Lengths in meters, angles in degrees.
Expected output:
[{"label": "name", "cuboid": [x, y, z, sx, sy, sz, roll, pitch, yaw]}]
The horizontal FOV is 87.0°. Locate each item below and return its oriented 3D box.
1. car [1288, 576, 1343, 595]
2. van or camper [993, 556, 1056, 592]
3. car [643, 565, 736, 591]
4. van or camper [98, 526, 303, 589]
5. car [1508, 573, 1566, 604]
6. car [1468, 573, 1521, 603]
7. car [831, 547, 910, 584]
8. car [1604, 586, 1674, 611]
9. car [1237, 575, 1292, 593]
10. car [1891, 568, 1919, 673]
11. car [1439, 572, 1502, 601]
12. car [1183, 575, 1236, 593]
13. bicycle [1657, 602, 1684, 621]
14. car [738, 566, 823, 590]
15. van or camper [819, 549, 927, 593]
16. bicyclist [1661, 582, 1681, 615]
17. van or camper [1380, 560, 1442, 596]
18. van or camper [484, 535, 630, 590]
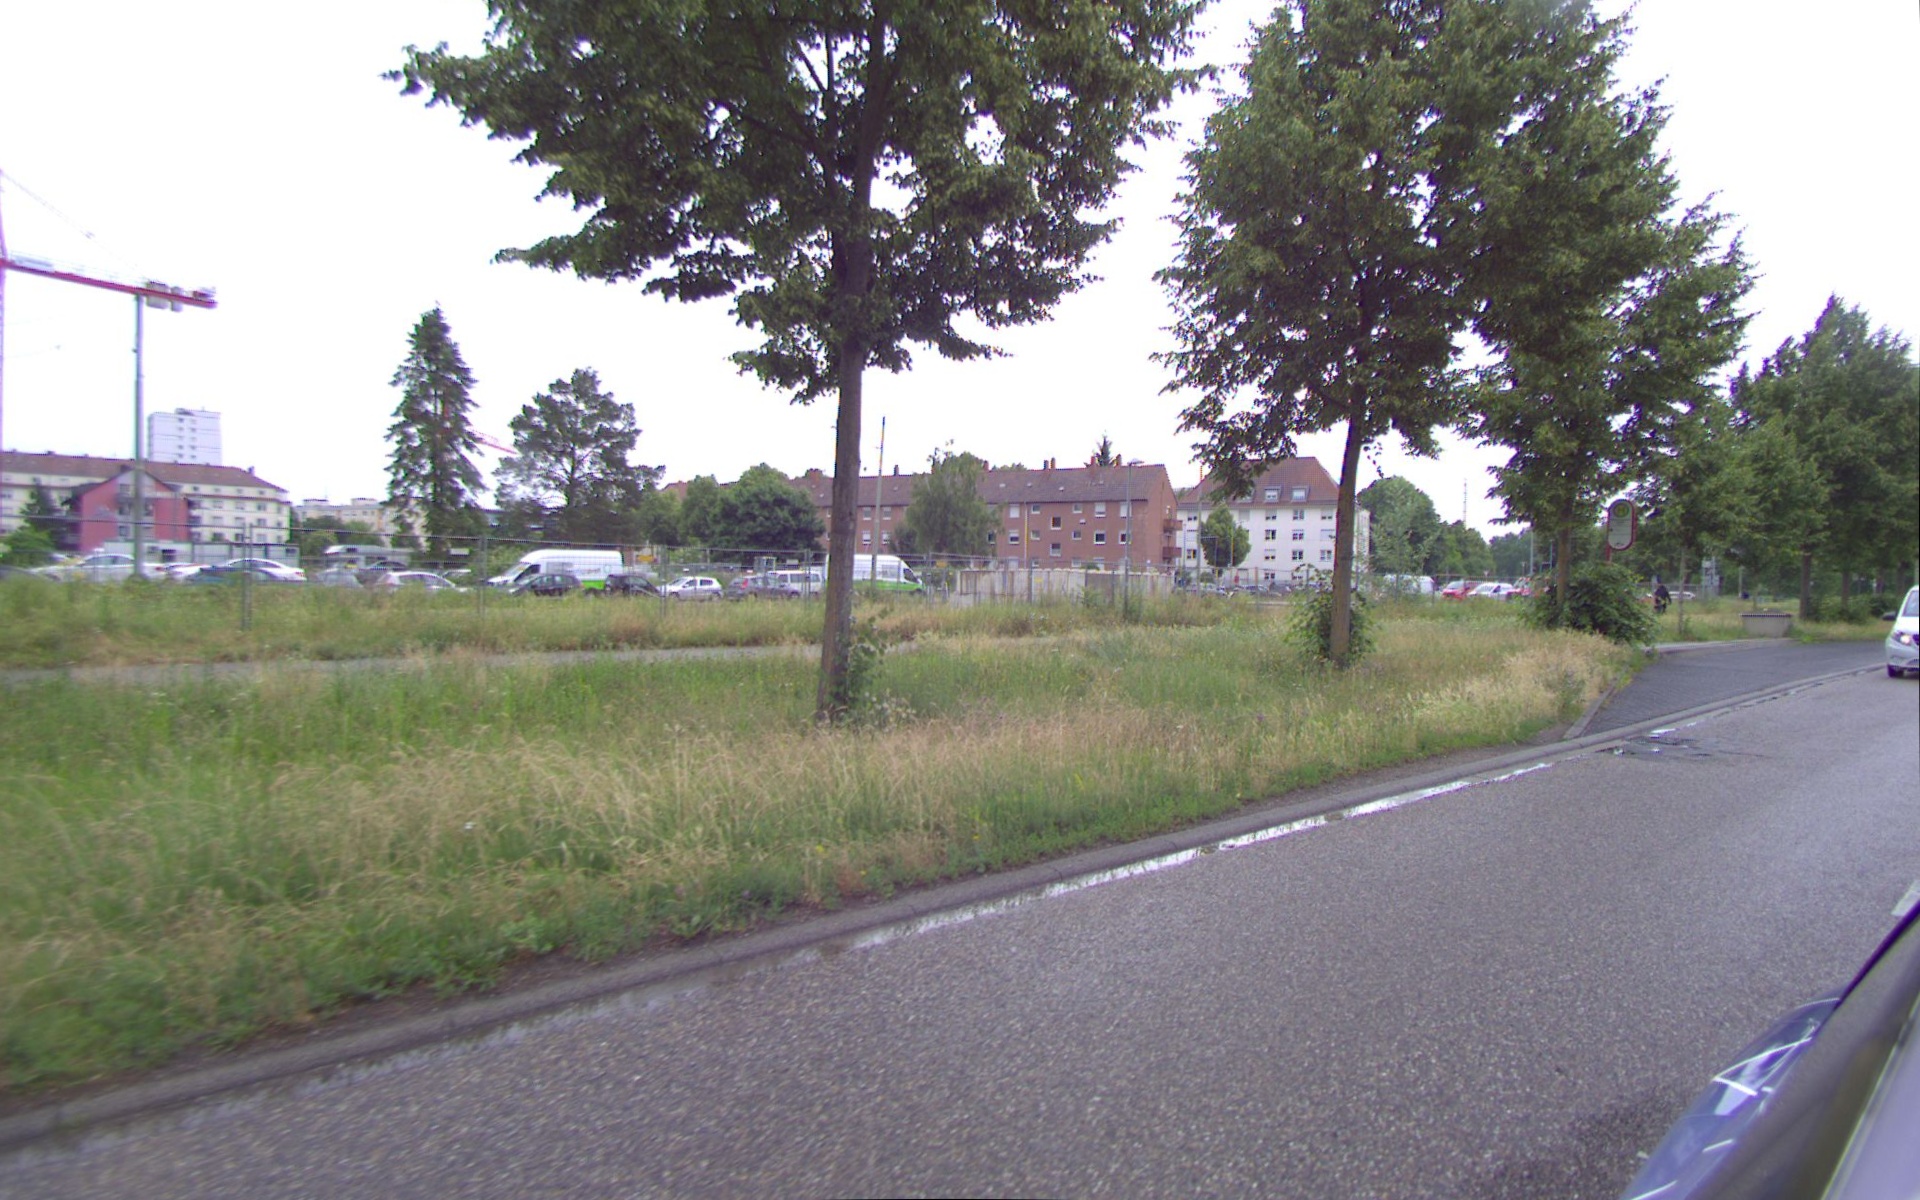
[{"label": "car", "cuboid": [30.281, -1.257, 86.205, 3.916, 1.572, 2.004, 0, 0, -14]}, {"label": "van or camper", "cuboid": [4.884, -1.939, 76.387, 1.912, 2.568, 5.181, 1, 1, 42]}, {"label": "car", "cuboid": [-15.003, -1.207, 56.313, 4.681, 1.369, 1.843, 0, 1, -44]}, {"label": "van or camper", "cuboid": [-31.062, -1.643, 41.580, 6.536, 2.336, 2.505, 0, 0, -43]}, {"label": "car", "cuboid": [43.940, -0.870, 77.033, 3.918, 2.339, 2.003, 0, 0, -28]}, {"label": "car", "cuboid": [42.386, -0.926, 80.239, 3.921, 2.339, 2.001, 0, 0, -32]}, {"label": "car", "cuboid": [-5.759, -2.209, 65.451, 4.681, 2.247, 2.273, 0, 1, -44]}, {"label": "car", "cuboid": [48.431, -0.099, 72.209, 1.647, 1.727, 3.807, 0, 0, -34]}, {"label": "car", "cuboid": [25.621, -1.312, 85.246, 3.916, 1.471, 2.004, 0, 0, -14]}, {"label": "car", "cuboid": [20.563, 0.379, 20.506, 5.003, 2.004, 1.971, -1, 2, -41]}, {"label": "car", "cuboid": [41.937, -1.090, 83.111, 5.339, 2.339, 2.200, 0, 0, -32]}, {"label": "car", "cuboid": [20.234, -1.257, 82.141, 3.920, 1.390, 2.002, 0, 0, -31]}, {"label": "bicycle", "cuboid": [33.715, 0.548, 47.999, 1.713, 0.889, 0.548, 0, 1, -38]}, {"label": "car", "cuboid": [-10.722, -1.302, 60.626, 4.681, 1.369, 2.092, 0, 1, -44]}, {"label": "van or camper", "cuboid": [-4.883, -1.619, 57.359, 6.045, 2.336, 2.205, 0, 1, -43]}, {"label": "bicyclist", "cuboid": [33.681, -0.081, 47.966, 0.825, 1.524, 0.537, 0, 1, -38]}, {"label": "van or camper", "cuboid": [40.472, -1.947, 90.742, 5.400, 3.073, 2.349, 0, 0, -30]}, {"label": "van or camper", "cuboid": [-20.238, -1.805, 51.023, 6.311, 2.568, 2.779, 0, 1, -43]}]
